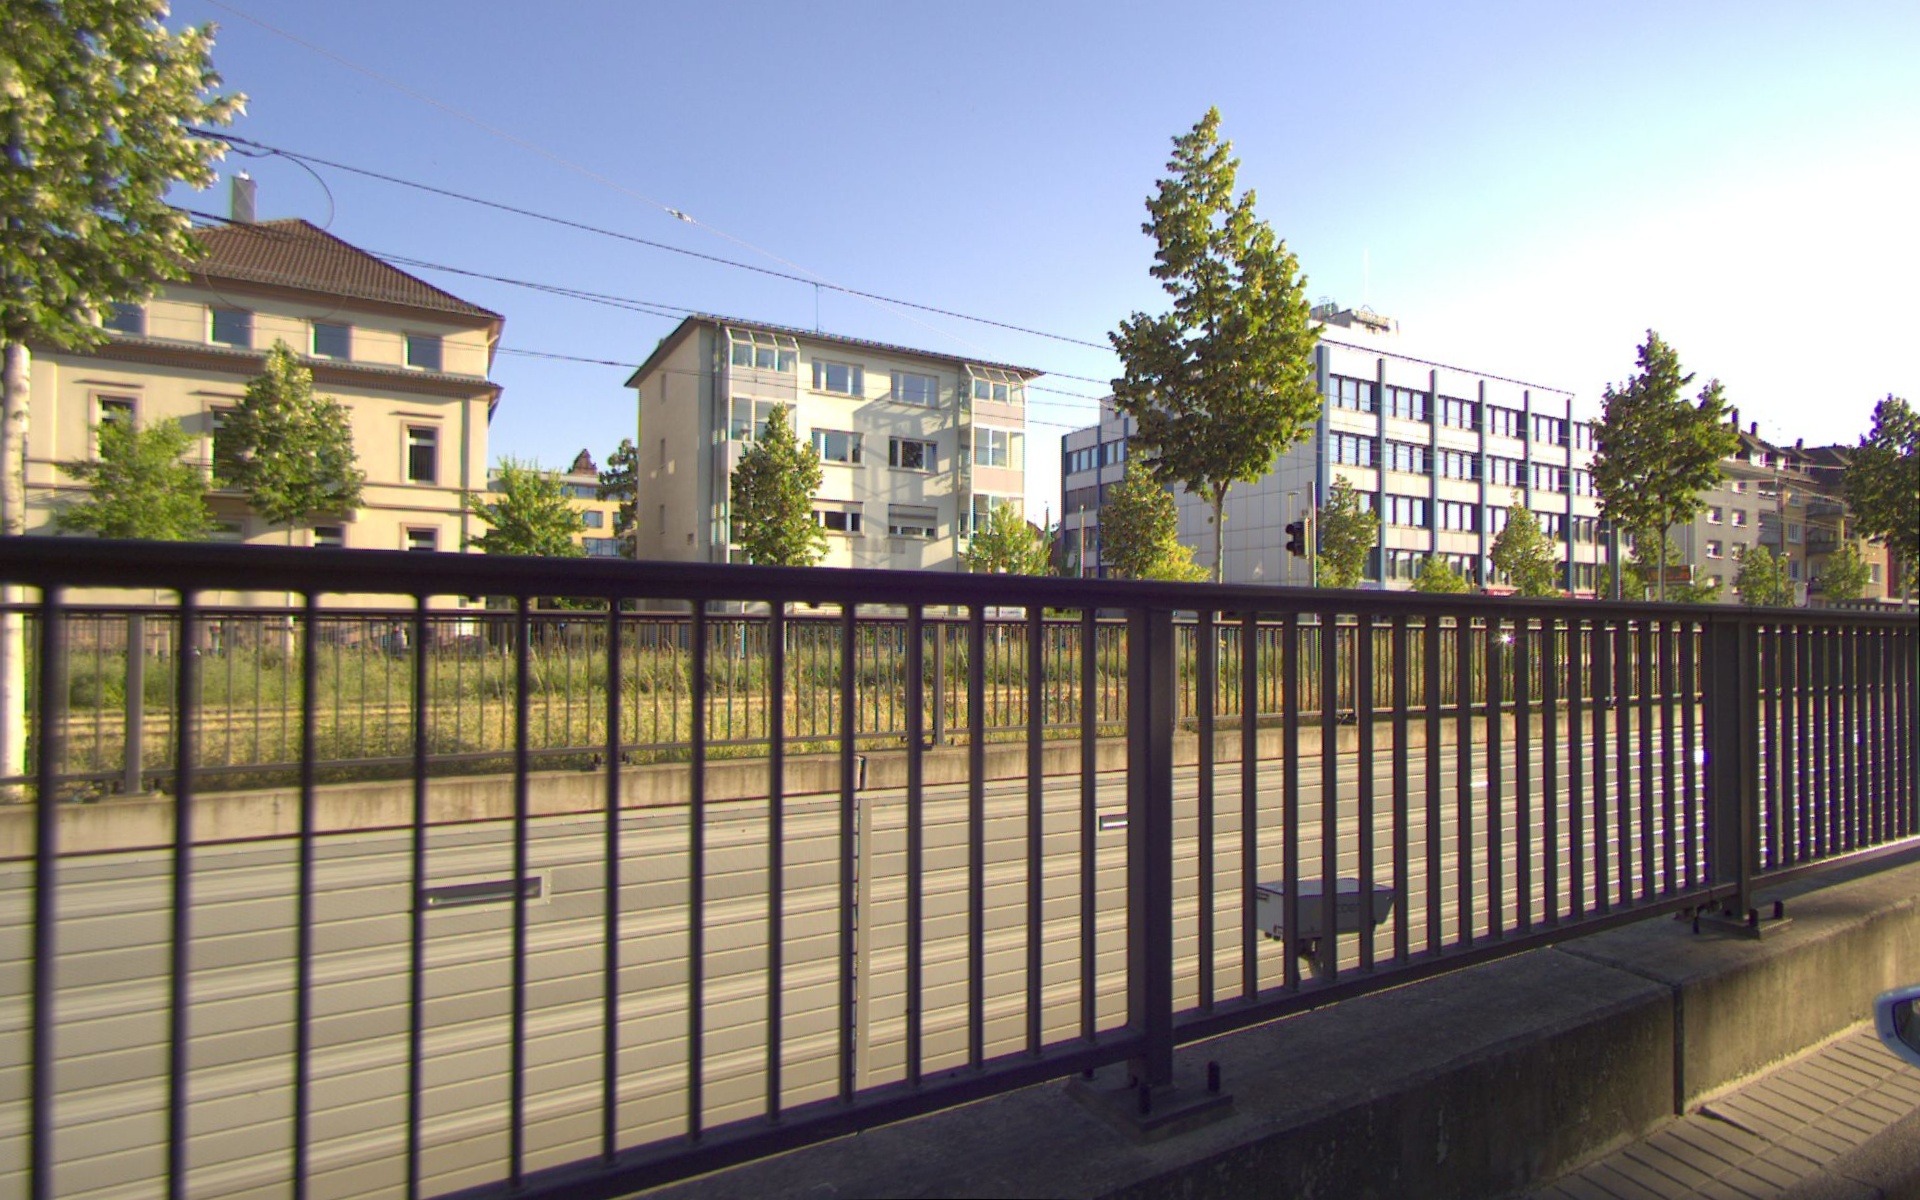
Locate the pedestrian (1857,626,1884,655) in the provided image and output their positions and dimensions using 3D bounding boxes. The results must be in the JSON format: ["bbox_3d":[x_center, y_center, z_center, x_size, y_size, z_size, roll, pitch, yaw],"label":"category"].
[{"bbox_3d":[45.722,2.017,50.447,0.794,1.429,0.834,1,-1,-30],"label":"pedestrian"}]

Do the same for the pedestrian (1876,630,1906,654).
[{"bbox_3d":[47.925,2.147,51.710,0.755,1.213,0.929,1,-1,-30],"label":"pedestrian"}]
